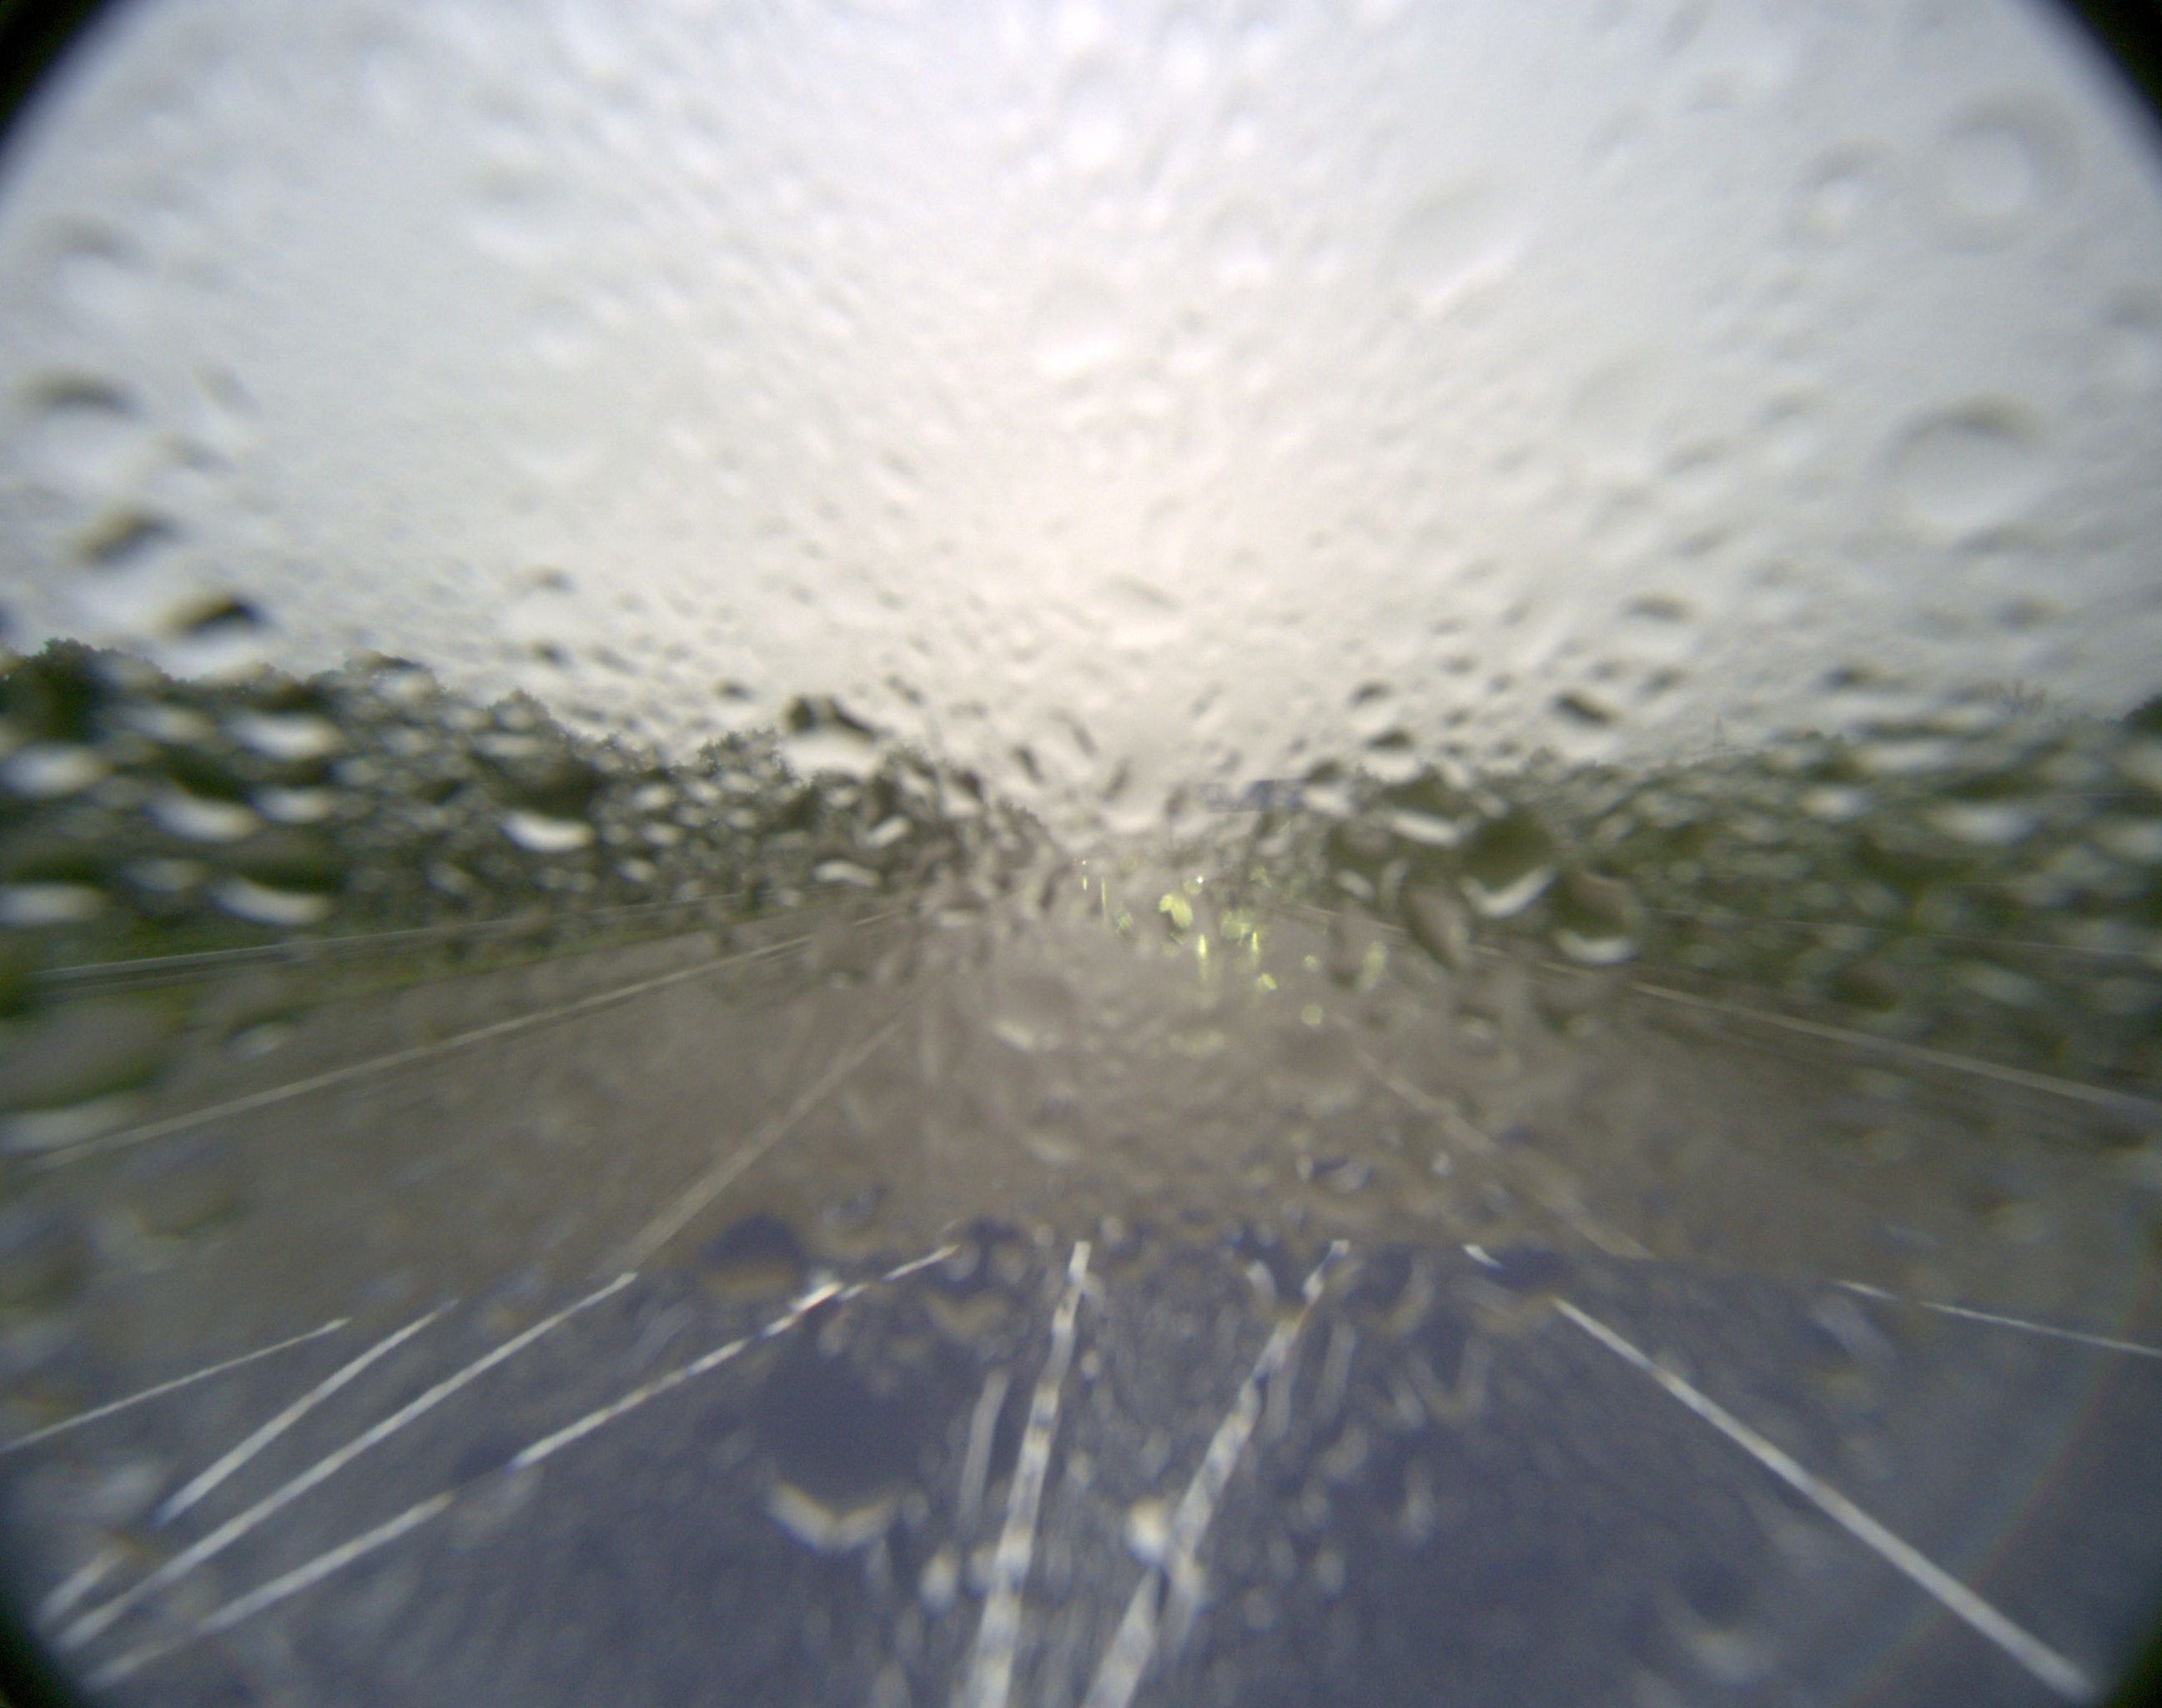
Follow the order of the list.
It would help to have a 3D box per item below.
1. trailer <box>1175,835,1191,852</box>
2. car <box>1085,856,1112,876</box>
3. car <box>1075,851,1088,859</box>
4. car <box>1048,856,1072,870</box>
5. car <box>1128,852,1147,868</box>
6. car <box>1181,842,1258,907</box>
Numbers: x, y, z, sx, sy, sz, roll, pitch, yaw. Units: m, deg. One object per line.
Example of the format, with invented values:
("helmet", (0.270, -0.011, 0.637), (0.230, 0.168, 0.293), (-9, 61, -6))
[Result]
("trailer", (23.604, -2.387, 176.906), (2.338, 3.700, 13.931), (-5, 0, 3))
("car", (1.363, 0.852, 57.086), (1.752, 1.406, 4.001), (-1, 0, 5))
("car", (0.033, 0.162, 128.873), (1.752, 1.205, 4.001), (-5, 0, 5))
("car", (-2.102, 0.898, 77.007), (1.752, 1.205, 4.001), (-5, 0, 5))
("car", (5.447, 0.572, 72.816), (1.752, 1.369, 4.001), (-2, 1, 5))
("car", (4.094, 0.562, 23.167), (2.046, 1.763, 4.503), (-1, 0, 7))
